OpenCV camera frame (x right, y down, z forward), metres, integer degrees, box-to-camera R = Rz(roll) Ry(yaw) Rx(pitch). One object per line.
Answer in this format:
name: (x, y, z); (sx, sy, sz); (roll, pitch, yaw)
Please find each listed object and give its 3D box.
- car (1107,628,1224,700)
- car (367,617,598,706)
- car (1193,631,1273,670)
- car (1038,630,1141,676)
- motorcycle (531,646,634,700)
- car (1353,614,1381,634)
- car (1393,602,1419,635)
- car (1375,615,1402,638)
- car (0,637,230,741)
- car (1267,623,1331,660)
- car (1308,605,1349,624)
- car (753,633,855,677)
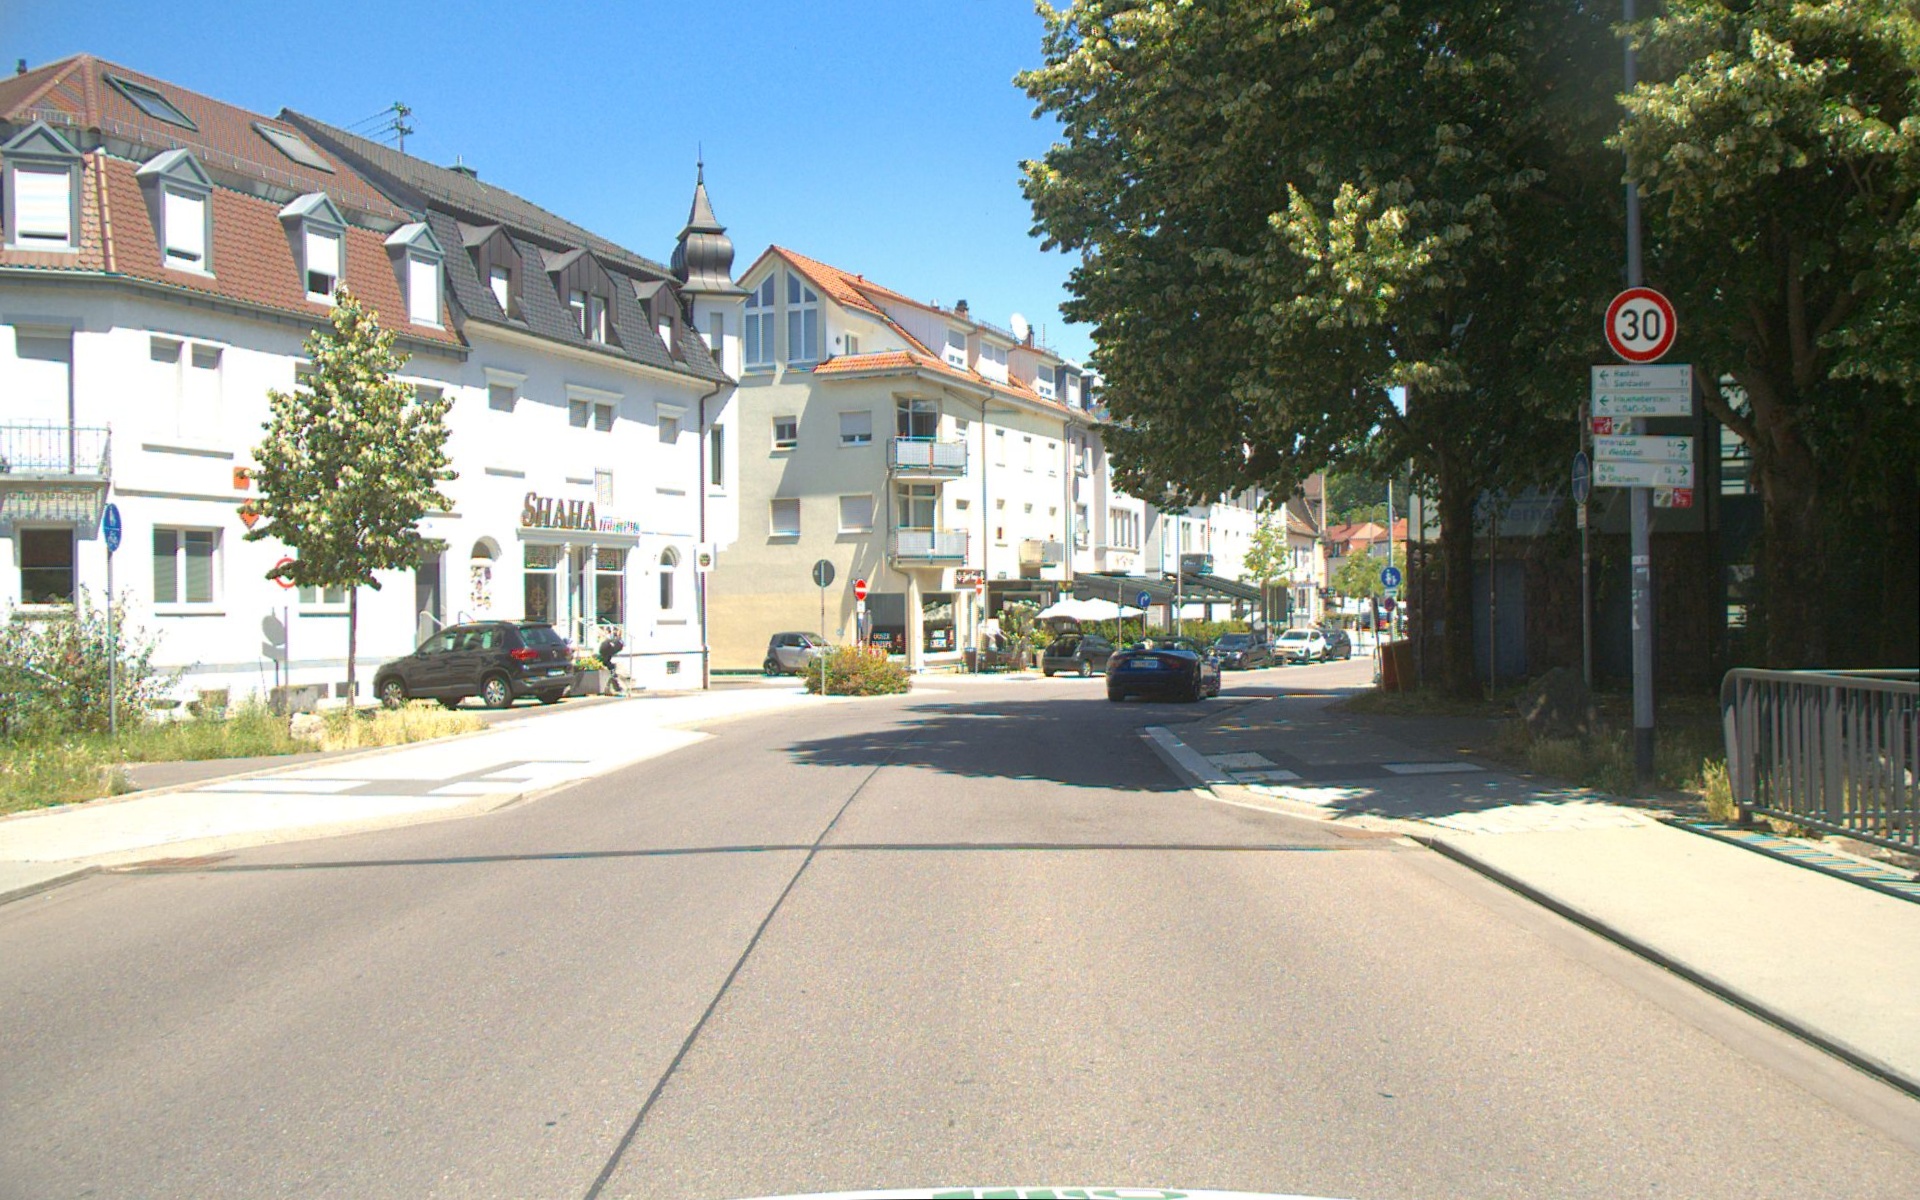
car: (4.449, 1.317, 35.243); (1.831, 1.366, 4.599); (0, 0, 15)
car: (-9.530, 1.217, 33.046); (4.094, 1.691, 1.971); (-1, -1, 21)
car: (11.024, 2.000, 66.569); (1.799, 1.454, 4.776); (0, 0, 28)
car: (4.550, 1.839, 57.689); (1.683, 1.486, 4.114); (1, -1, 35)
motorcycle: (-8.917, 1.712, 39.051); (2.346, 1.239, 0.833); (-1, -2, 23)
car: (36.335, 2.110, 147.748); (1.951, 1.722, 4.003); (0, 0, 6)
car: (33.996, 1.370, 126.186); (1.827, 2.443, 4.822); (-1, -1, 14)
car: (35.074, 2.172, 135.376); (1.951, 1.769, 4.003); (-1, -1, 12)
car: (-13.080, 1.250, 23.480); (4.610, 1.380, 1.994); (-1, -1, -11)
car: (15.032, 1.813, 73.160); (1.614, 1.505, 3.933); (1, 0, 30)
car: (41.556, 1.674, 186.541); (4.193, 2.049, 1.989); (1, -3, -19)
car: (-5.556, 1.963, 58.995); (3.195, 1.484, 1.692); (-1, -1, 21)
